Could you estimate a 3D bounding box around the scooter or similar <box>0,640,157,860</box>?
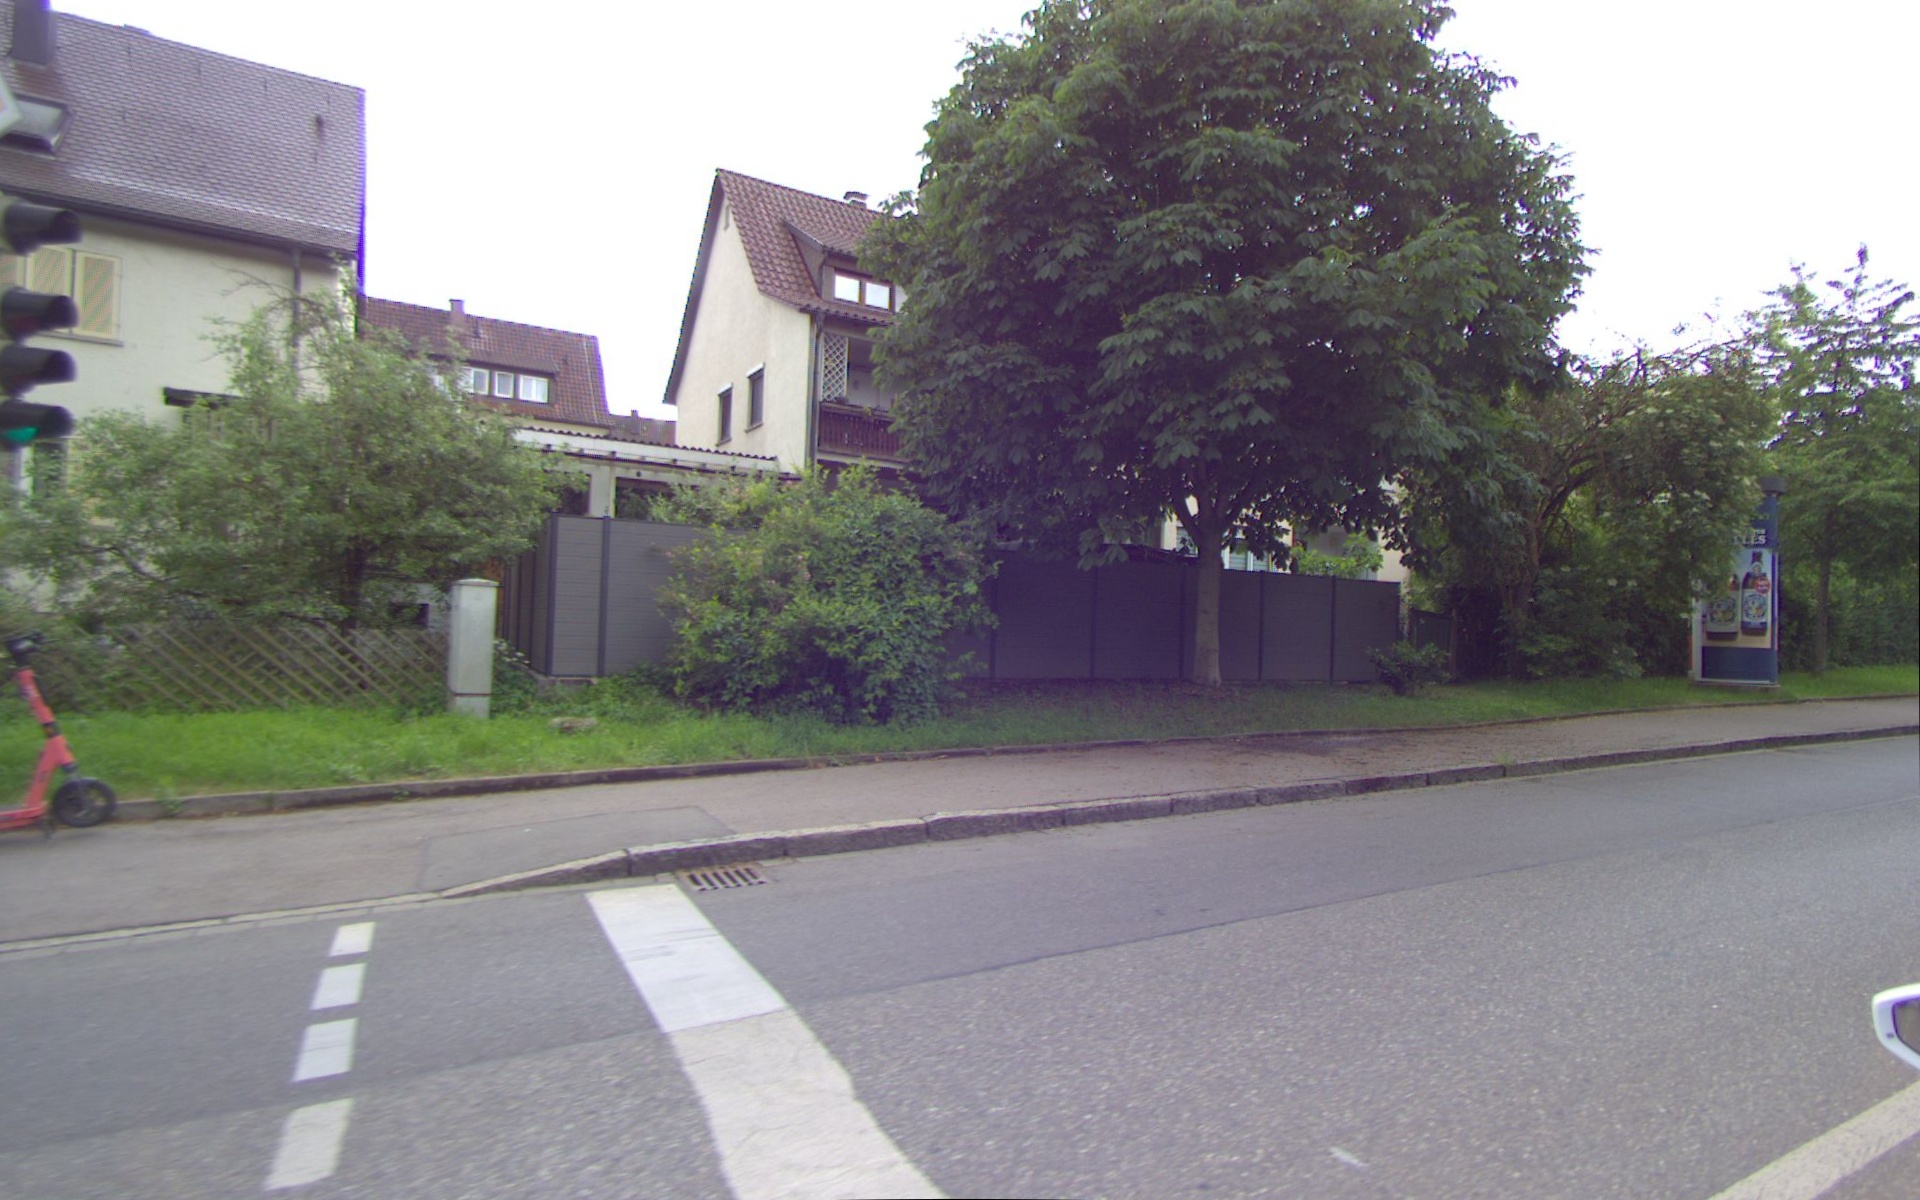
[{"bbox_3d":[-5.814,0.891,6.073,1.408,1.276,0.460,1,0,-29],"label":"scooter or similar"}]
